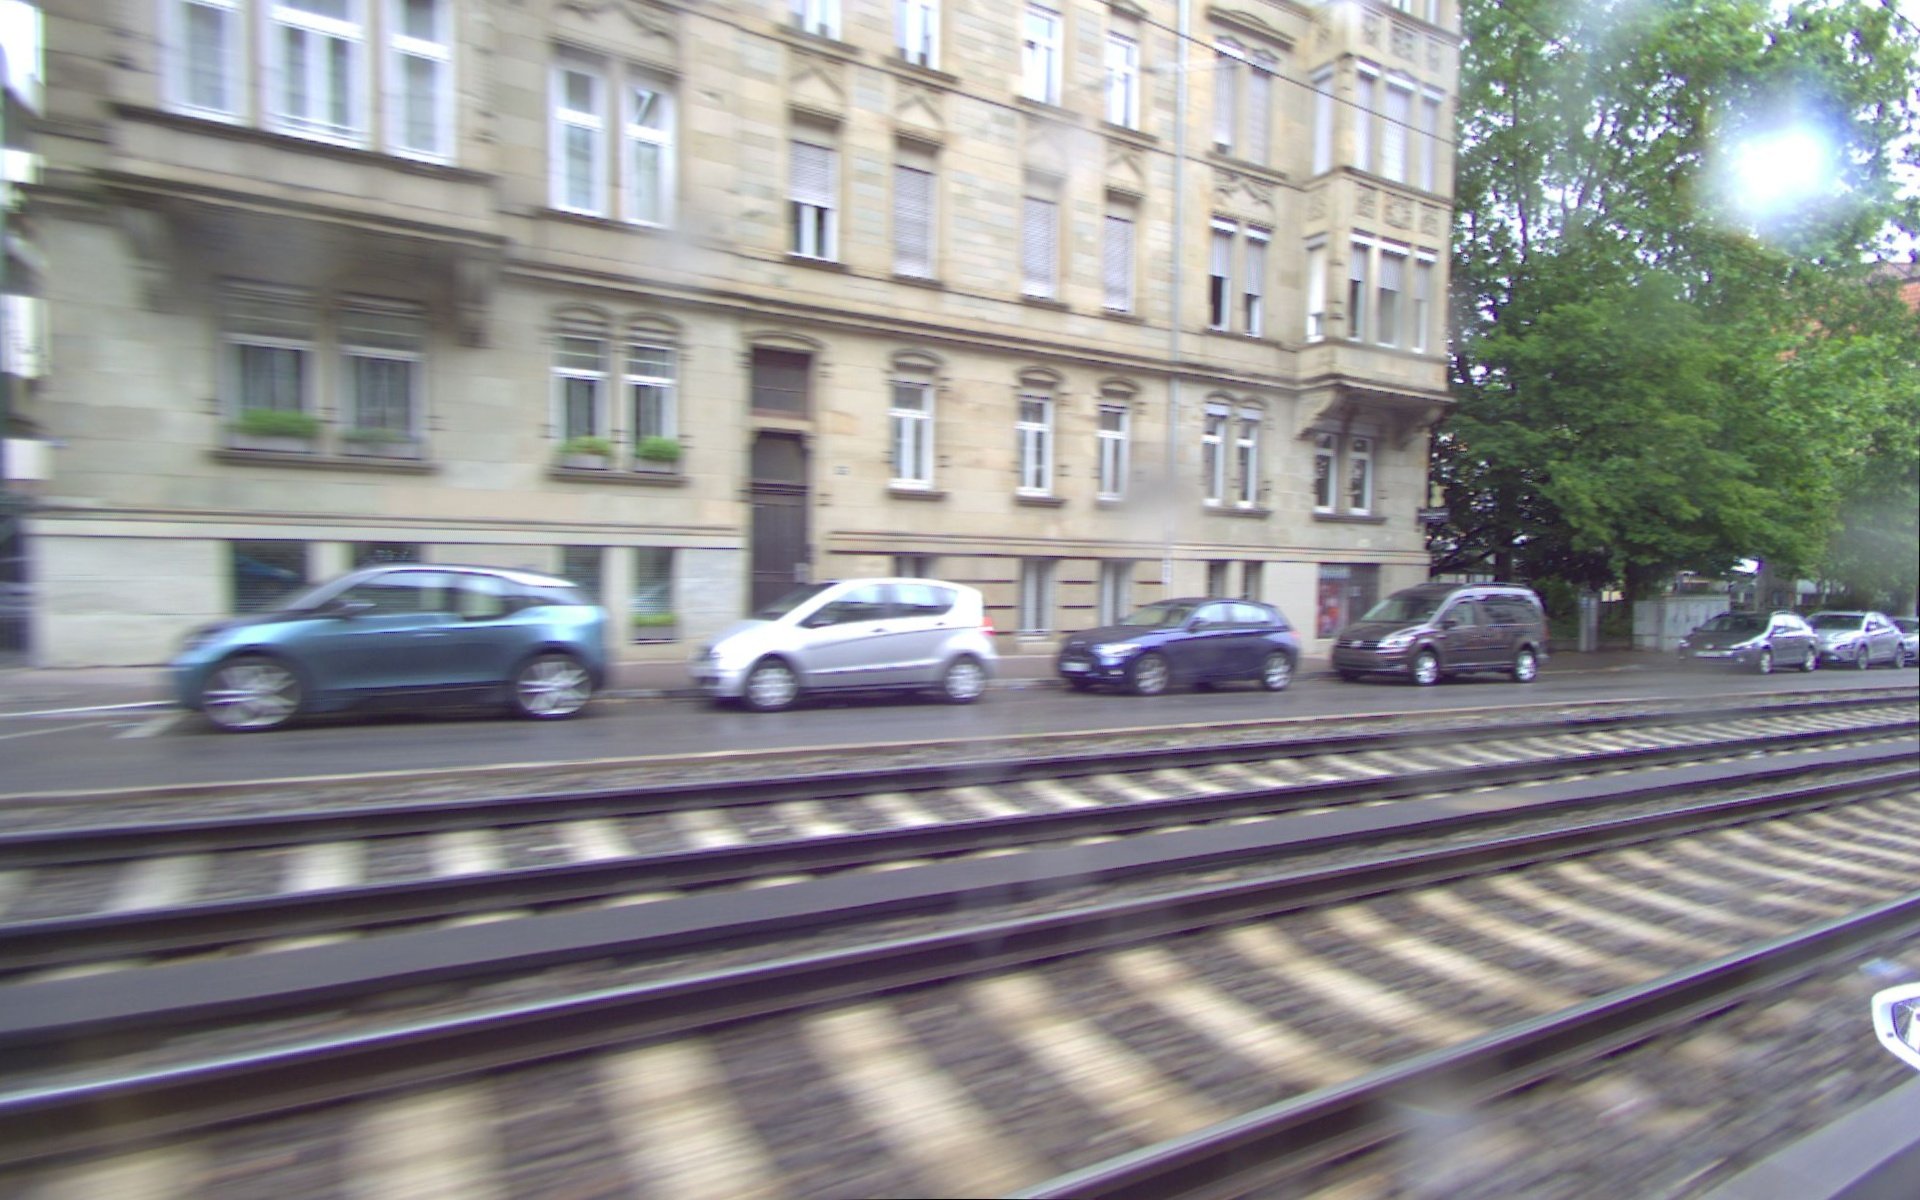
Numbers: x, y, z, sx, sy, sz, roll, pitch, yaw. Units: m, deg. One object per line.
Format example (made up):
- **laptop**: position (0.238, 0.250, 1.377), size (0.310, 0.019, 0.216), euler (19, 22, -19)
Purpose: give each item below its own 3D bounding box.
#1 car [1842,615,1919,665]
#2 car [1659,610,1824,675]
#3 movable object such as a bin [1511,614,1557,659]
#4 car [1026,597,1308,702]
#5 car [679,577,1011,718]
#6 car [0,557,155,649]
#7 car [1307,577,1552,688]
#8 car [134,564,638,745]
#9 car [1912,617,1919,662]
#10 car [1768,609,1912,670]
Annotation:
- **car**: position (28.635, 1.194, 30.410), size (4.106, 1.432, 1.745), euler (1, -1, -31)
- **car**: position (19.476, 1.018, 24.988), size (4.500, 1.483, 1.839), euler (1, -1, -32)
- **movable object such as a bin**: position (15.003, 0.942, 26.274), size (0.763, 1.135, 0.714), euler (1, 1, -28)
- **car**: position (3.251, 0.713, 15.542), size (4.221, 1.416, 1.753), euler (1, -1, -31)
- **car**: position (-1.416, 0.551, 12.677), size (3.809, 1.544, 1.687), euler (1, -1, -30)
- **car**: position (-15.736, 0.020, 17.700), size (1.709, 1.458, 3.601), euler (1, 1, -28)
- **car**: position (8.869, 0.587, 18.852), size (4.762, 1.871, 1.792), euler (1, -1, -30)
- **car**: position (-5.622, 0.490, 10.310), size (4.120, 1.528, 1.861), euler (1, 0, -30)
- **car**: position (32.677, 1.281, 32.644), size (3.907, 1.432, 1.532), euler (1, -1, -31)
- **car**: position (24.393, 1.071, 27.808), size (4.491, 1.556, 1.745), euler (1, -1, -31)
